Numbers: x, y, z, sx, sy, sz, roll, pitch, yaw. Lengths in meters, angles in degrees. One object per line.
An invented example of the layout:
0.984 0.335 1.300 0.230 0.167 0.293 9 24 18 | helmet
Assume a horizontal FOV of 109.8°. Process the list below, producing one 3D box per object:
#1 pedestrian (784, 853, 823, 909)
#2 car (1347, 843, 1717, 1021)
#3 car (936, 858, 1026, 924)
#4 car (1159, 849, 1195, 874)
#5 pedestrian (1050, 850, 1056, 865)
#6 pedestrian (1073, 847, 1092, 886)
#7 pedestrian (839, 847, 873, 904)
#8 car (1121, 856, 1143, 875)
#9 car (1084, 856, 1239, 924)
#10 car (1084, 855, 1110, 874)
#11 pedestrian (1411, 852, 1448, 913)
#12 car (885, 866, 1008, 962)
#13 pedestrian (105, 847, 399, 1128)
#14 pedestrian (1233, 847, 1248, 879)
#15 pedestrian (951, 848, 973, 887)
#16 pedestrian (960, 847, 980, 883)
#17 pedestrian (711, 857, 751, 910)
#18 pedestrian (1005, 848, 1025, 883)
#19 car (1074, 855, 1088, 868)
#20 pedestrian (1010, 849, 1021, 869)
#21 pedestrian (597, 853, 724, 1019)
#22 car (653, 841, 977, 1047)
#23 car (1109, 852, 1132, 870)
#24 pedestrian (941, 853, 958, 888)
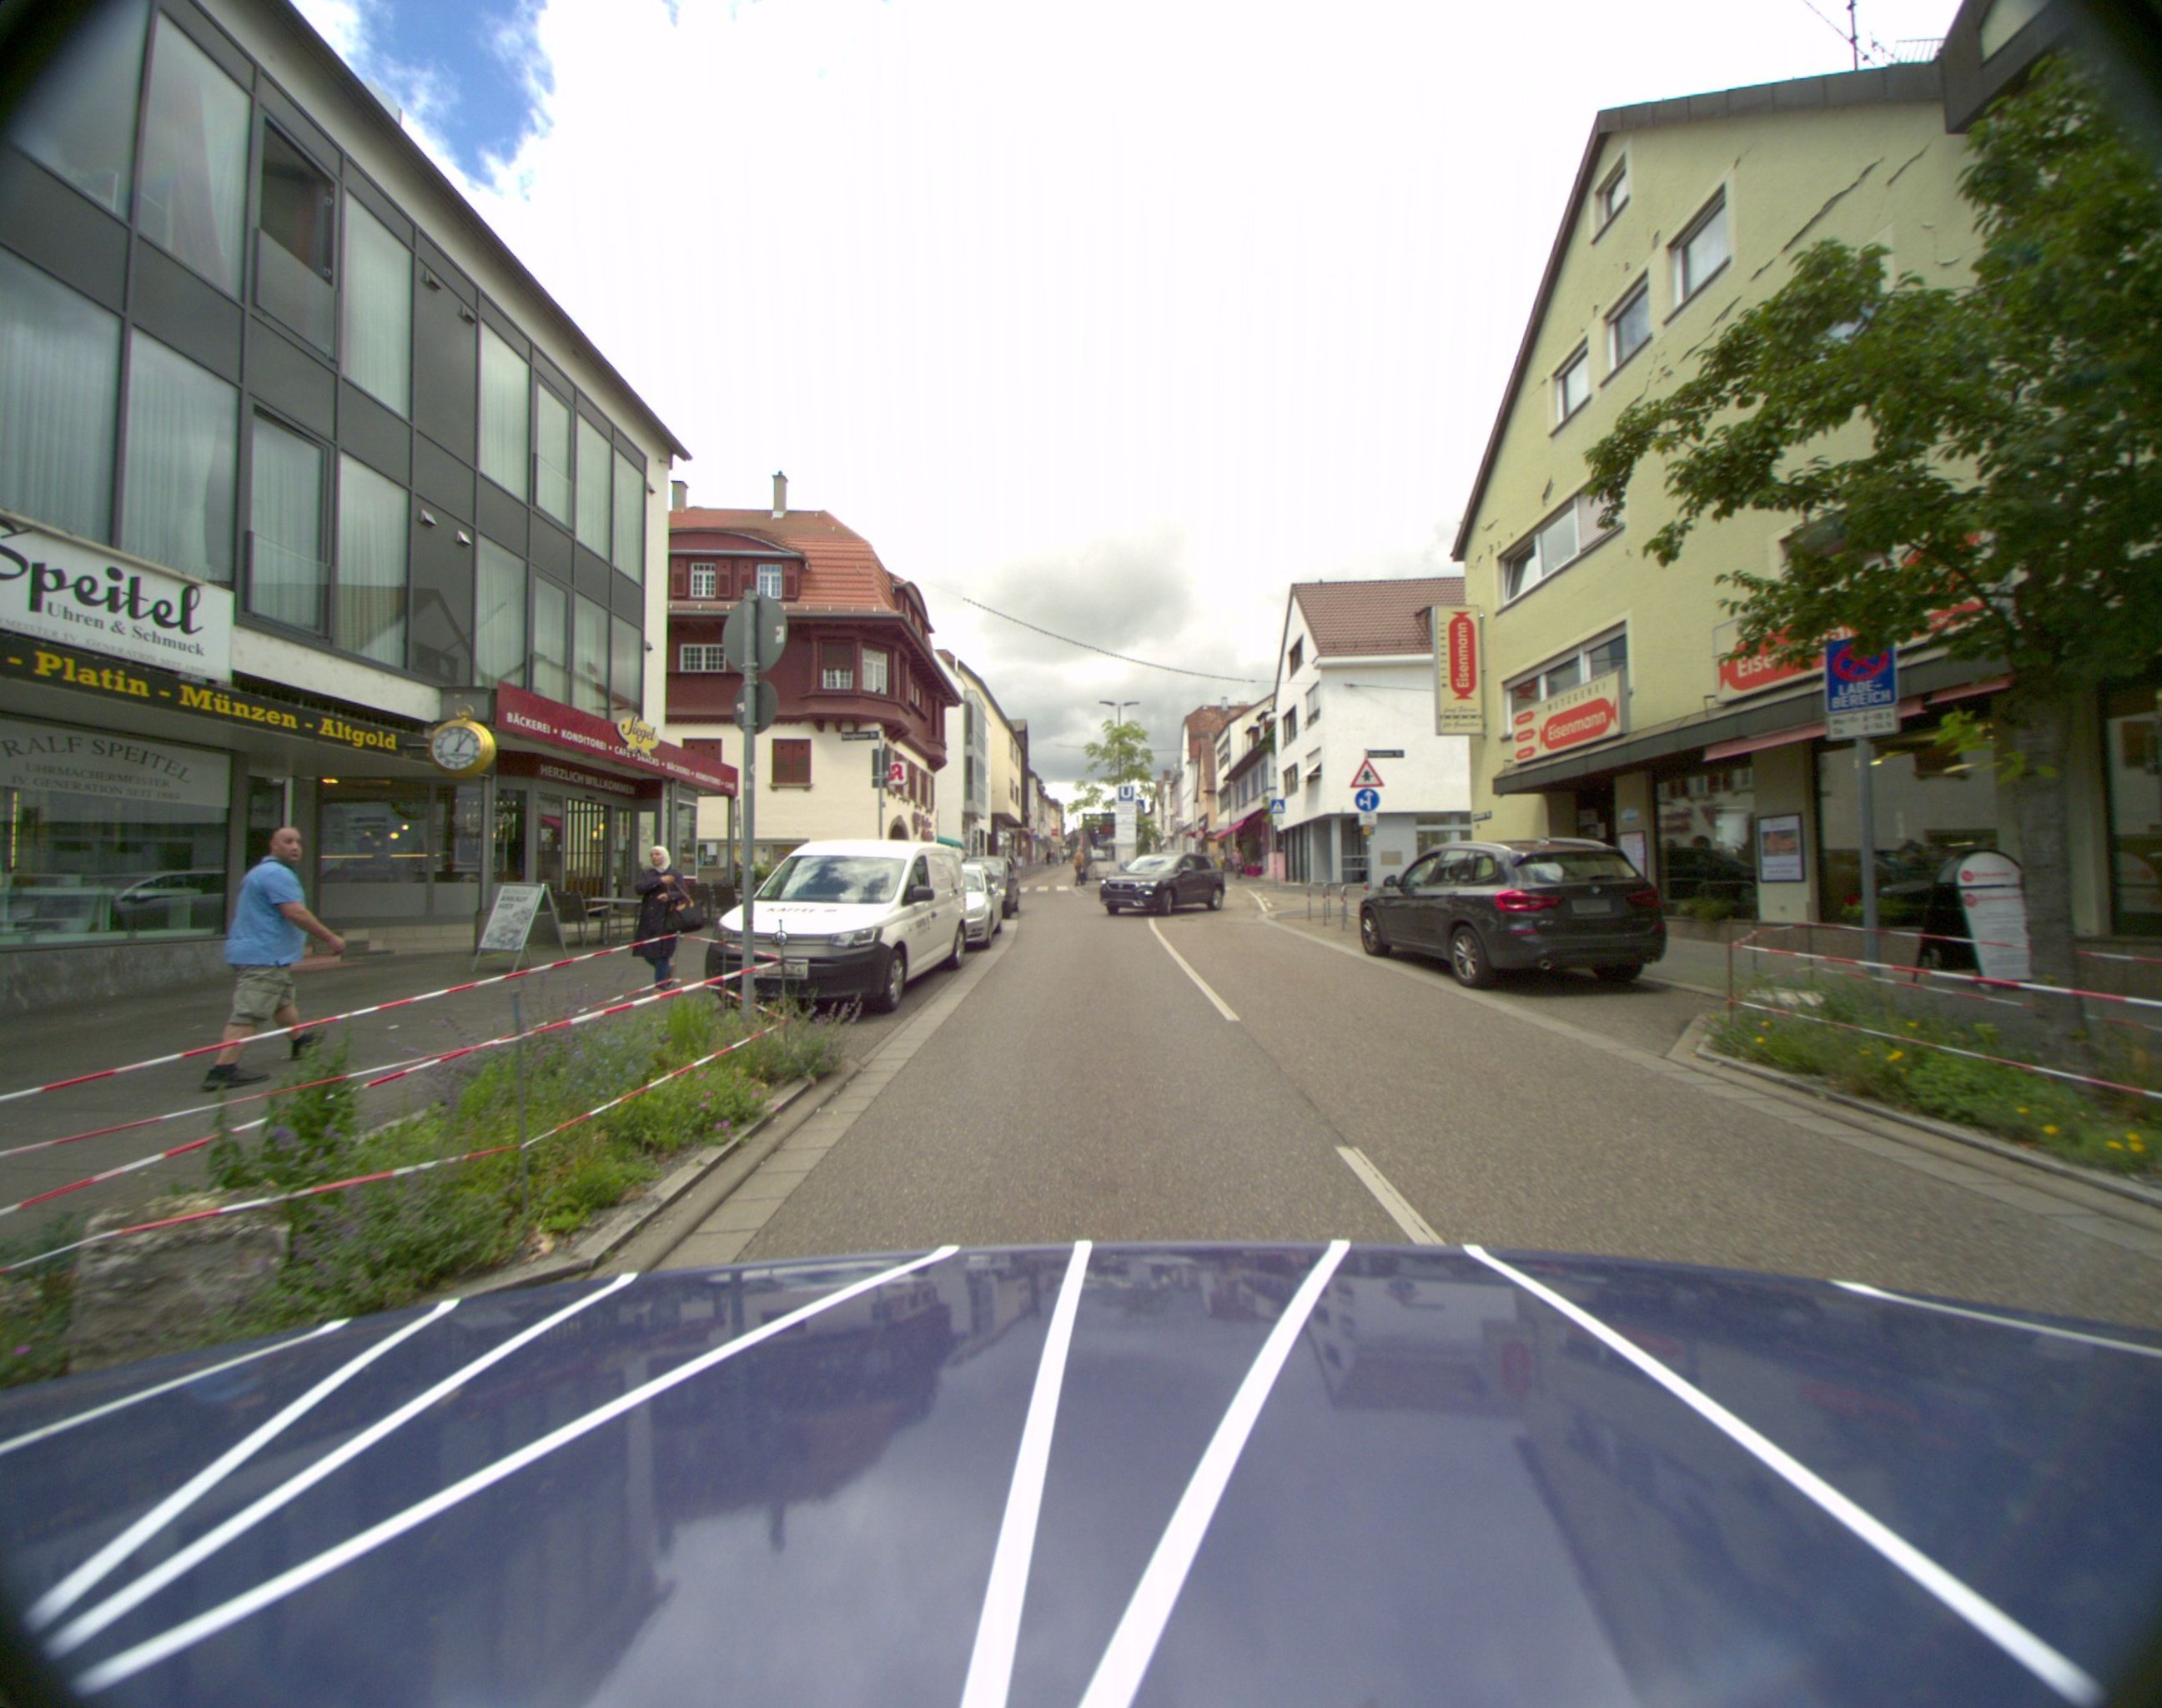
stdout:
-8.239 0.781 22.574 0.774 1.636 0.870 1 1 6 | pedestrian
5.275 0.790 9.829 2.012 1.683 4.607 -2 0 0 | car
-2.617 0.922 20.718 1.808 1.546 3.953 -2 0 1 | car
6.334 0.466 50.517 1.968 1.612 4.355 0 1 1 | car
-3.333 0.414 90.158 0.663 1.696 0.780 0 1 -1 | pedestrian
0.069 0.573 35.592 0.676 1.791 0.787 -1 1 -12 | pedestrian
-7.102 0.678 24.006 0.776 1.759 0.817 -1 1 2 | pedestrian
4.392 1.002 66.181 1.703 1.539 3.898 -2 0 1 | car
2.251 0.864 20.248 1.909 1.560 4.381 1 1 42 | car
1.344 0.872 65.964 1.999 1.557 4.431 -2 0 -1 | car
10.115 0.816 22.068 0.638 1.728 0.835 1 1 -2 | pedestrian
-2.345 0.993 14.180 1.707 1.459 3.999 0 0 -2 | car
-5.512 0.809 5.149 0.798 1.717 1.053 0 1 1 | pedestrian
8.791 0.501 41.973 0.696 1.730 0.825 0 1 3 | pedestrian
-5.711 0.627 36.568 0.778 1.846 0.704 0 1 43 | pedestrian
-5.495 0.555 37.660 0.701 1.756 0.627 0 1 26 | pedestrian
-10.389 0.859 22.582 0.725 1.522 0.808 2 1 6 | pedestrian
-3.368 0.574 39.073 0.987 1.777 0.919 -1 1 -4 | pedestrian
0.039 1.106 113.767 1.998 2.002 4.000 -1 0 1 | car
-5.466 0.391 63.330 0.759 1.663 0.780 2 1 -1 | pedestrian
-4.421 0.827 8.043 0.825 1.656 0.802 -1 1 6 | pedestrian
-2.660 0.785 9.013 1.881 1.789 4.733 -1 0 4 | car
3.784 0.679 73.294 1.998 1.580 4.494 -2 0 1 | car
-6.231 0.771 36.072 0.625 1.603 0.703 -1 1 5 | pedestrian
